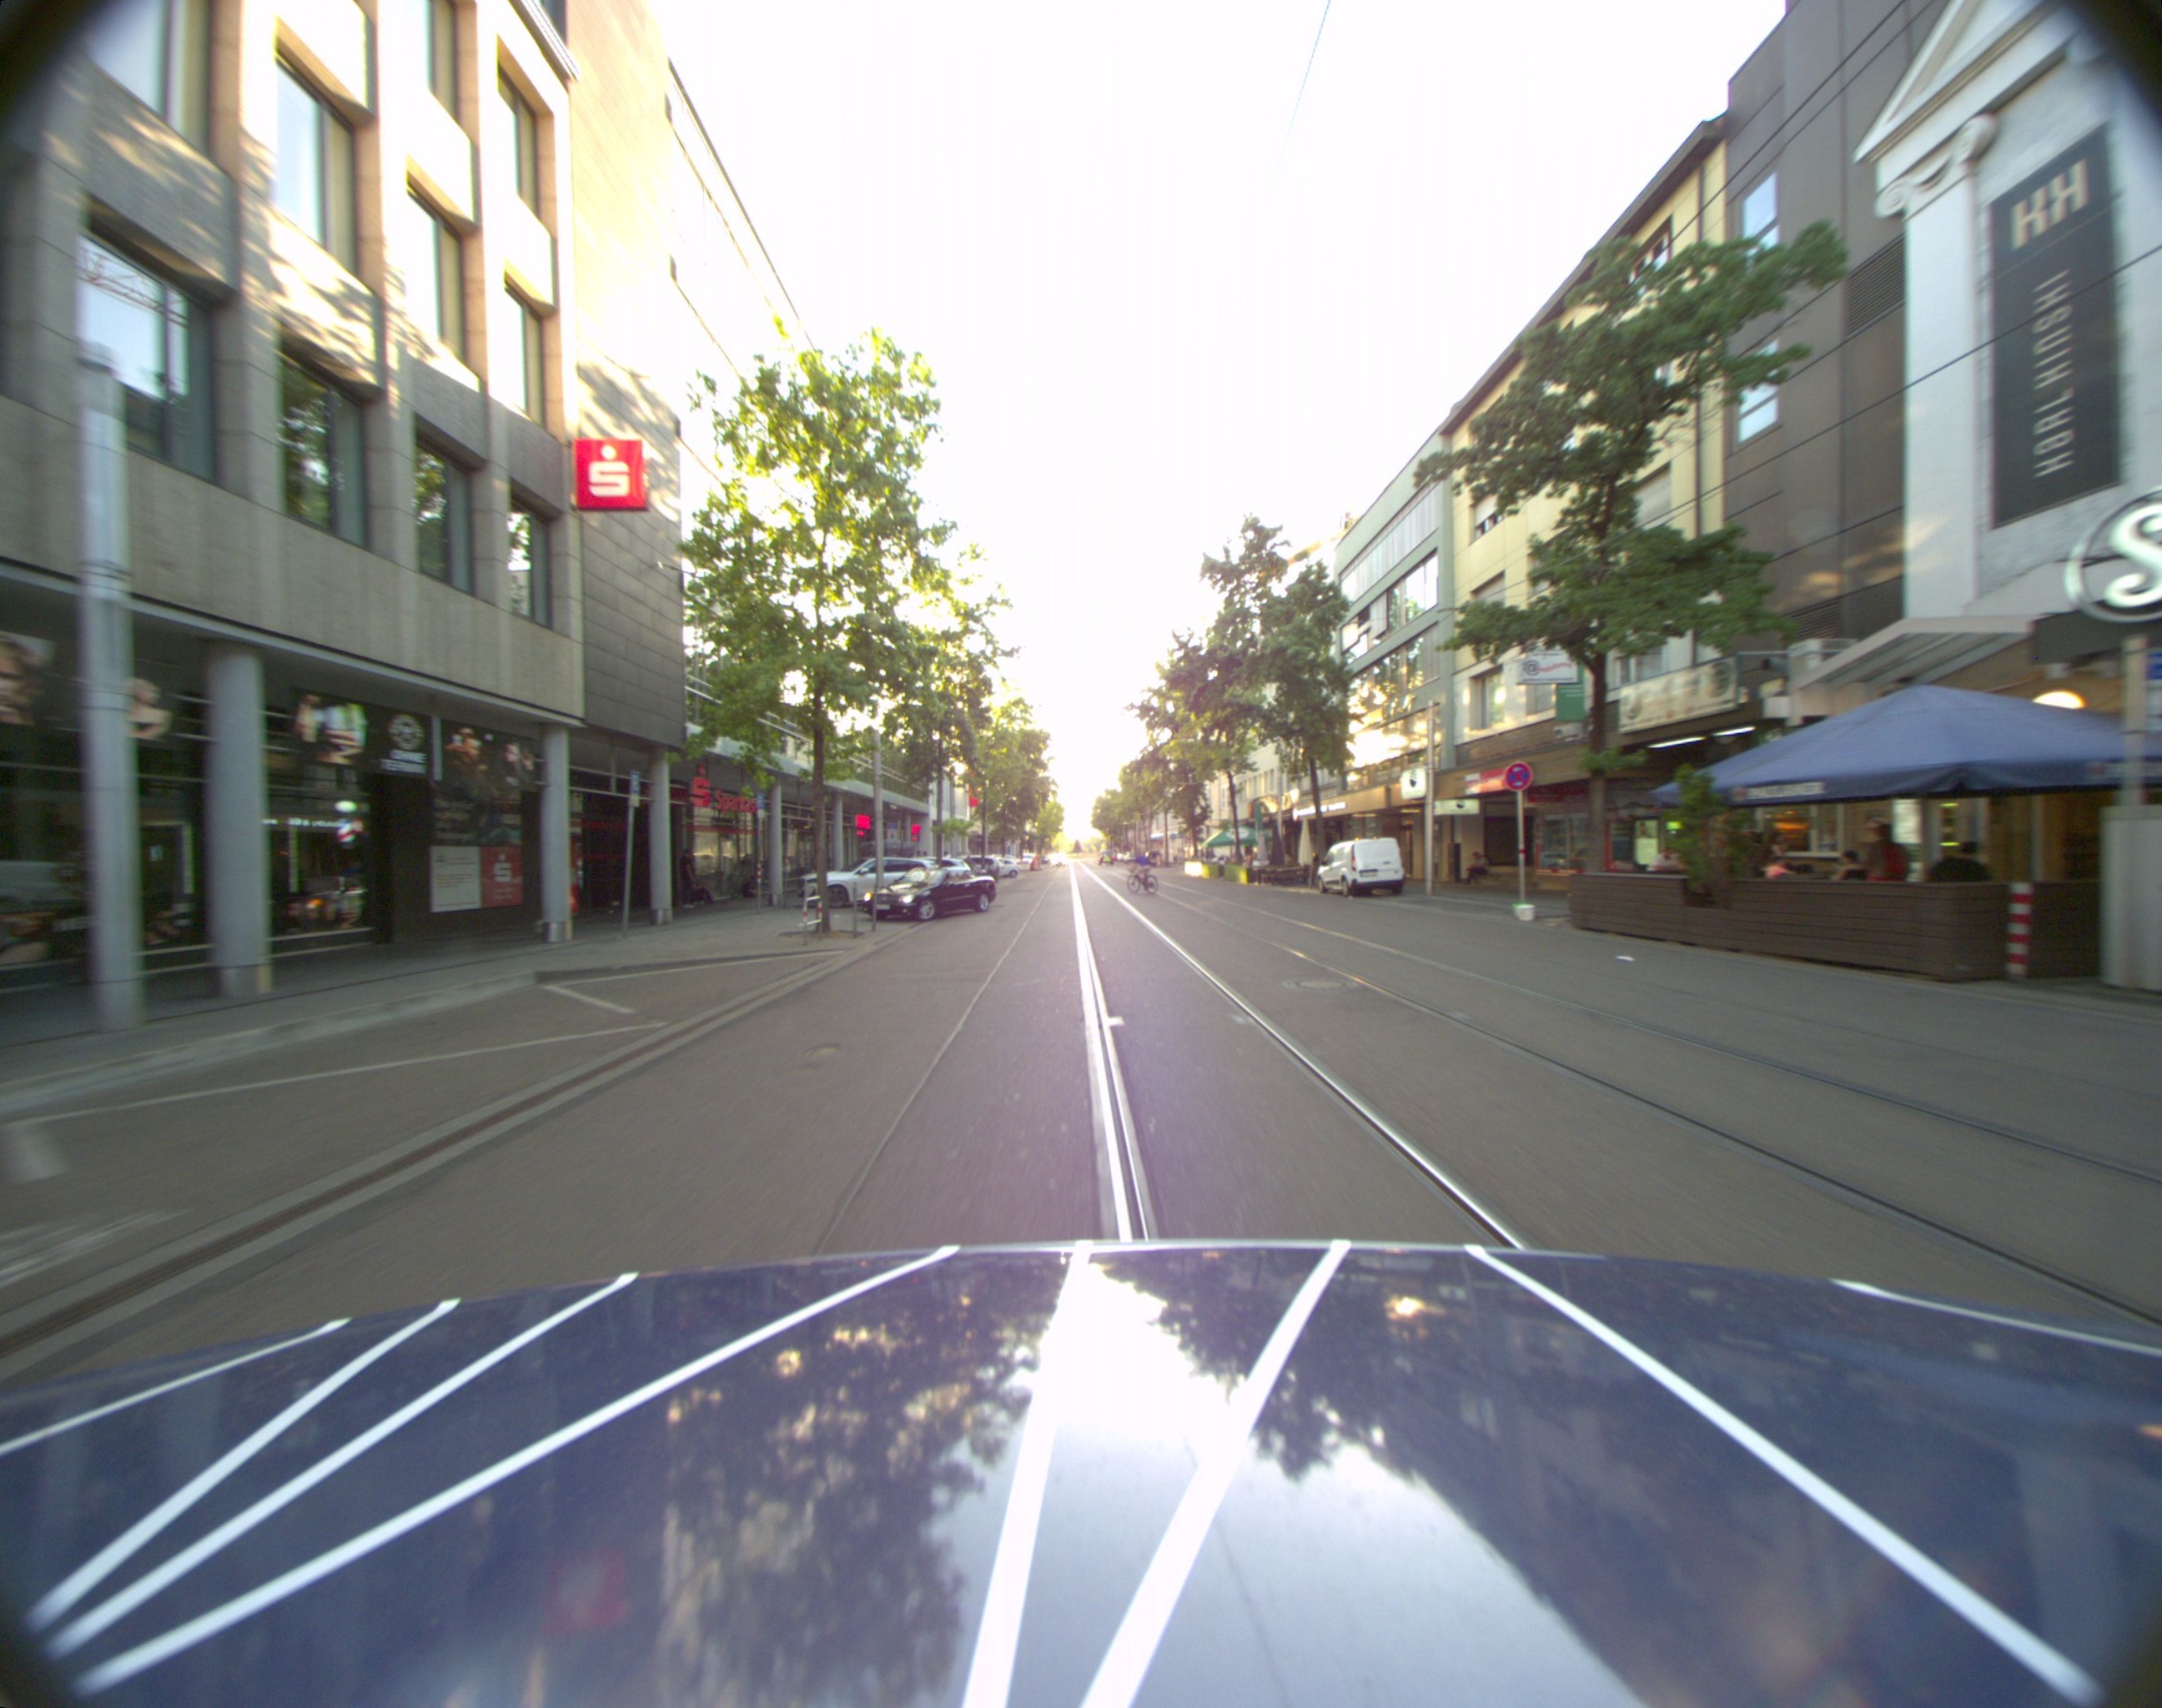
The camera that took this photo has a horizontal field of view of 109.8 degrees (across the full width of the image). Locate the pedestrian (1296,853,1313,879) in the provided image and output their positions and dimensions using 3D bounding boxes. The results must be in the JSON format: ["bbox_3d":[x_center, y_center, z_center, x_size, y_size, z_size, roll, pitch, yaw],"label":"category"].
[{"bbox_3d":[12.362,0.652,41.981,0.650,1.451,0.649,-1,1,-9],"label":"pedestrian"}]

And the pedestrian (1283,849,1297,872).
[{"bbox_3d":[13.064,0.407,47.582,0.650,1.451,0.650,-1,1,-3],"label":"pedestrian"}]

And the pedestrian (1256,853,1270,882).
[{"bbox_3d":[9.508,0.708,39.666,0.649,1.451,0.651,-1,1,17],"label":"pedestrian"}]

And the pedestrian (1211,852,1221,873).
[{"bbox_3d":[9.106,0.596,51.244,0.649,1.378,0.650,-1,1,6],"label":"pedestrian"}]

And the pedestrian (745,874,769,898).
[{"bbox_3d":[-11.924,1.174,27.959,0.627,0.876,0.558,0,1,-1],"label":"pedestrian"}]

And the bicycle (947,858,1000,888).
[{"bbox_3d":[-5.866,1.046,41.473,2.677,1.448,0.675,-4,1,-26],"label":"bicycle"}]

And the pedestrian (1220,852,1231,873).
[{"bbox_3d":[9.756,0.574,51.189,0.649,1.378,0.650,-1,1,6],"label":"pedestrian"}]

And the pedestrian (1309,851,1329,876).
[{"bbox_3d":[12.355,0.492,39.438,0.701,1.308,0.786,-1,1,-5],"label":"pedestrian"}]

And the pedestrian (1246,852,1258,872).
[{"bbox_3d":[12.624,0.604,56.075,0.650,1.451,0.650,-1,1,-3],"label":"pedestrian"}]

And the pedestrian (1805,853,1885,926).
[{"bbox_3d":[12.833,0.578,12.777,0.642,1.150,0.665,-4,2,-2],"label":"pedestrian"}]

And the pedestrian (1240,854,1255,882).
[{"bbox_3d":[8.712,0.733,39.816,0.649,1.451,0.650,-1,1,0],"label":"pedestrian"}]

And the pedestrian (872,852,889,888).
[{"bbox_3d":[-9.484,0.735,35.905,0.618,1.681,0.628,0,1,0],"label":"pedestrian"}]

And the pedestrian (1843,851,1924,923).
[{"bbox_3d":[13.643,0.548,12.926,0.642,1.150,0.665,-4,2,-2],"label":"pedestrian"}]

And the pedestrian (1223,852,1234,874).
[{"bbox_3d":[9.705,0.593,49.977,0.649,1.378,0.650,-1,1,6],"label":"pedestrian"}]

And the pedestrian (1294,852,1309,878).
[{"bbox_3d":[12.448,0.636,42.937,0.650,1.451,0.650,-1,1,-2],"label":"pedestrian"}]

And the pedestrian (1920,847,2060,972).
[{"bbox_3d":[10.966,0.643,9.192,0.766,1.393,0.746,-4,2,-1],"label":"pedestrian"}]

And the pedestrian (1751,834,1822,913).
[{"bbox_3d":[13.508,0.364,14.558,0.662,1.426,0.643,-6,2,0],"label":"pedestrian"}]

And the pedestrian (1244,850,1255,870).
[{"bbox_3d":[12.636,0.450,57.008,0.650,1.451,0.650,-1,1,-3],"label":"pedestrian"}]

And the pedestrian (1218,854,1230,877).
[{"bbox_3d":[8.674,0.682,46.109,0.649,1.378,0.650,-1,1,6],"label":"pedestrian"}]

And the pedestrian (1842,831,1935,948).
[{"bbox_3d":[11.281,0.477,10.622,0.658,1.543,0.565,-4,2,-2],"label":"pedestrian"}]

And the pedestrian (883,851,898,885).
[{"bbox_3d":[-9.667,0.704,38.550,0.618,1.681,0.628,0,1,0],"label":"pedestrian"}]

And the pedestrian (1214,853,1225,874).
[{"bbox_3d":[9.112,0.613,50.003,0.649,1.378,0.650,-1,1,6],"label":"pedestrian"}]

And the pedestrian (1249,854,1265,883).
[{"bbox_3d":[9.005,0.736,38.878,0.648,1.451,0.651,-1,1,30],"label":"pedestrian"}]

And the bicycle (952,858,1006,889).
[{"bbox_3d":[-5.412,1.044,40.399,2.677,1.448,0.728,-4,1,-27],"label":"bicycle"}]

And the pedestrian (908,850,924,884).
[{"bbox_3d":[-8.433,0.658,38.835,0.618,1.681,0.628,0,1,0],"label":"pedestrian"}]

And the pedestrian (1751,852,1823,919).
[{"bbox_3d":[12.859,0.562,13.852,0.642,1.150,0.665,-4,2,-2],"label":"pedestrian"}]

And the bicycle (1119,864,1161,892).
[{"bbox_3d":[2.245,0.904,29.161,0.734,1.067,1.862,0,-1,-28],"label":"bicycle"}]

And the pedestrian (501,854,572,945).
[{"bbox_3d":[-10.081,0.817,14.092,0.749,1.635,0.741,0,1,0],"label":"pedestrian"}]

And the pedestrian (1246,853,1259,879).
[{"bbox_3d":[9.667,0.659,42.785,0.649,1.451,0.651,-1,1,13],"label":"pedestrian"}]

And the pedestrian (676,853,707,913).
[{"bbox_3d":[-11.681,0.861,22.808,0.558,1.762,0.628,0,1,0],"label":"pedestrian"}]

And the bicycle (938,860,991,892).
[{"bbox_3d":[-5.927,1.092,38.568,2.492,1.448,0.656,-4,1,-25],"label":"bicycle"}]

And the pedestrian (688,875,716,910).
[{"bbox_3d":[-11.900,1.201,23.857,0.628,1.030,0.557,-1,1,-8],"label":"pedestrian"}]

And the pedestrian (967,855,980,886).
[{"bbox_3d":[-6.020,0.916,42.504,0.618,1.681,0.627,-1,1,-5],"label":"pedestrian"}]

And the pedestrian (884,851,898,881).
[{"bbox_3d":[-10.815,0.676,43.197,0.618,1.681,0.628,0,1,0],"label":"pedestrian"}]
